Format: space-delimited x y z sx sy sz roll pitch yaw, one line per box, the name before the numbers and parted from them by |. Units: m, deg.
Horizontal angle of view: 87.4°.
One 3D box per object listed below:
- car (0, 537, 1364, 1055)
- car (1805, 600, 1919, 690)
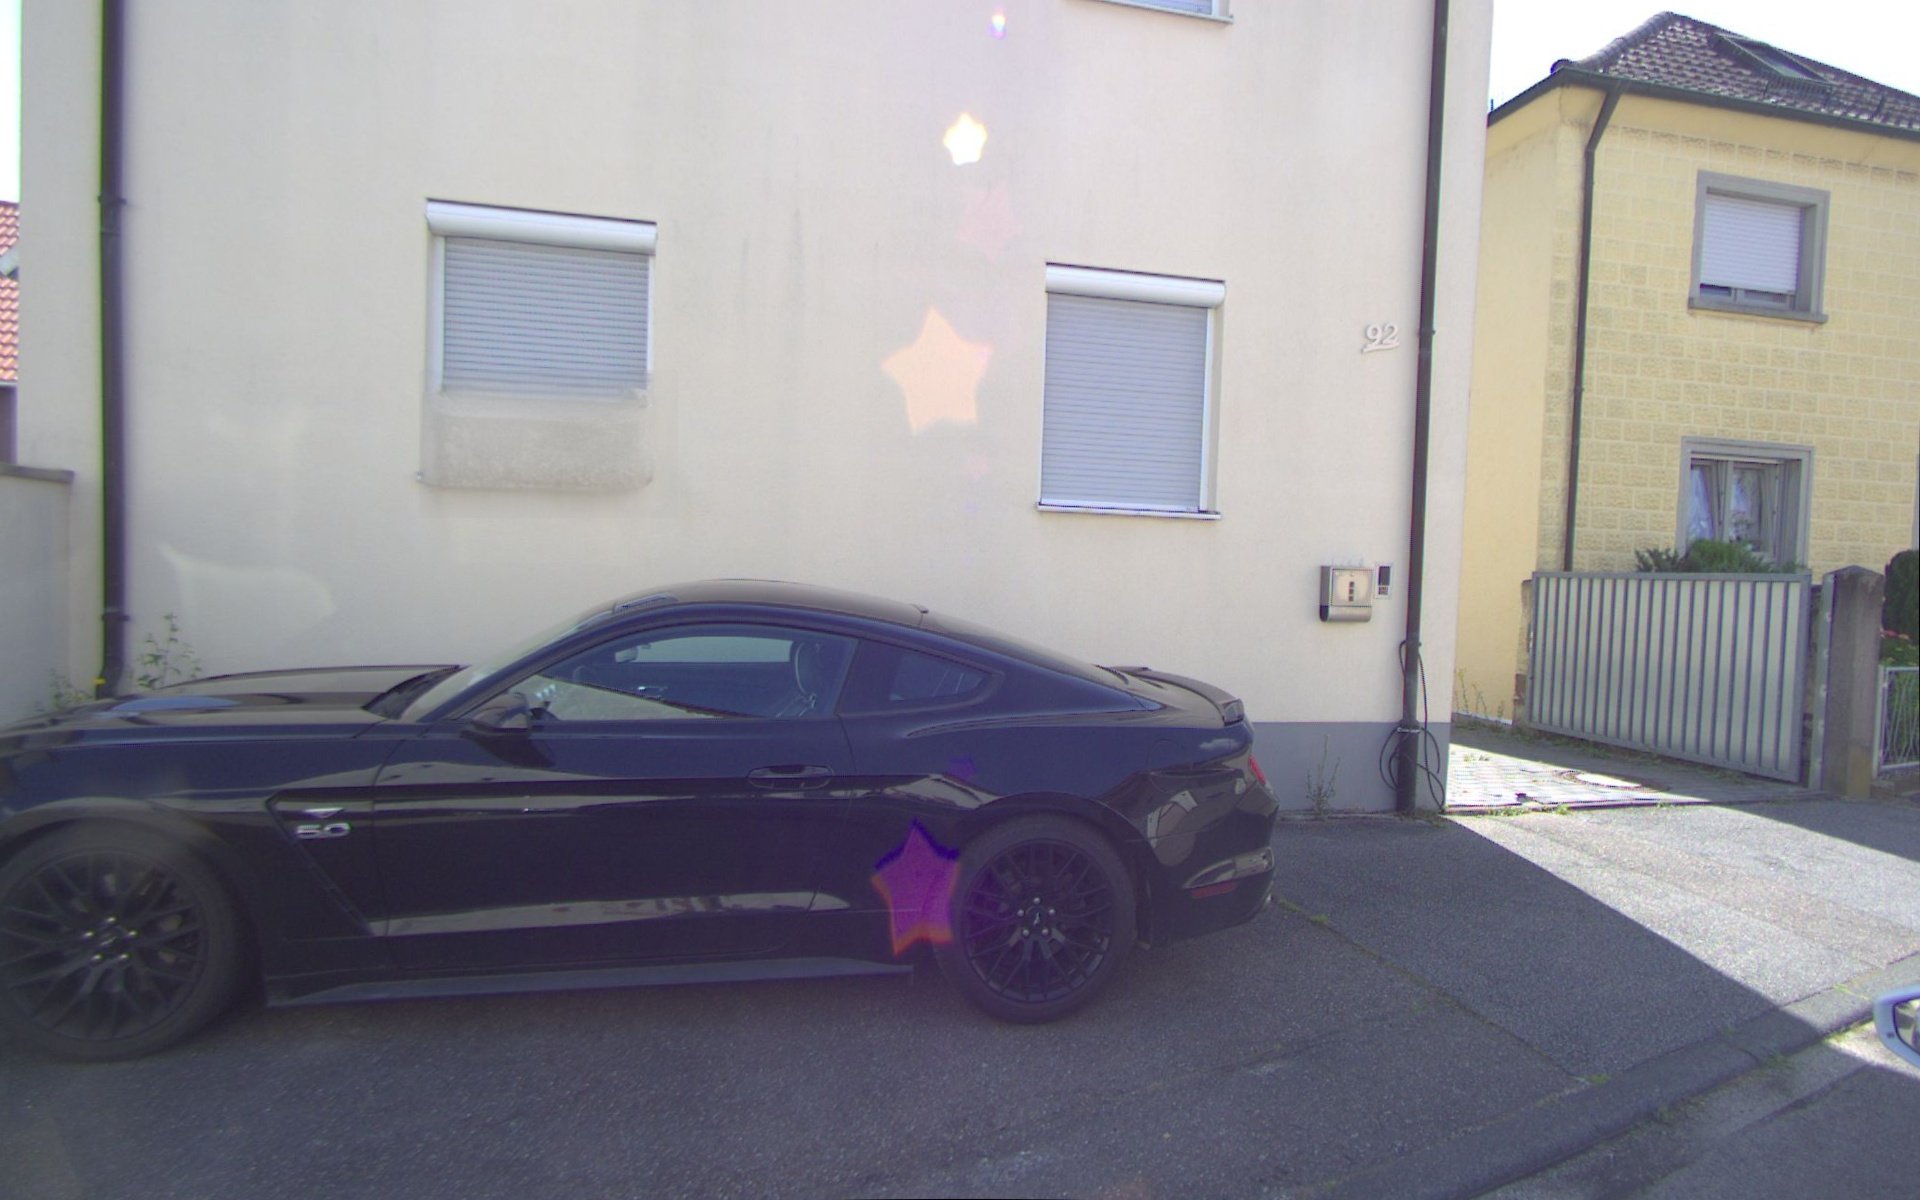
car | -0.998 0.560 3.836 4.389 1.368 1.772 2 3 -10
car | 17.553 0.842 17.610 1.756 1.505 4.473 2 1 2
